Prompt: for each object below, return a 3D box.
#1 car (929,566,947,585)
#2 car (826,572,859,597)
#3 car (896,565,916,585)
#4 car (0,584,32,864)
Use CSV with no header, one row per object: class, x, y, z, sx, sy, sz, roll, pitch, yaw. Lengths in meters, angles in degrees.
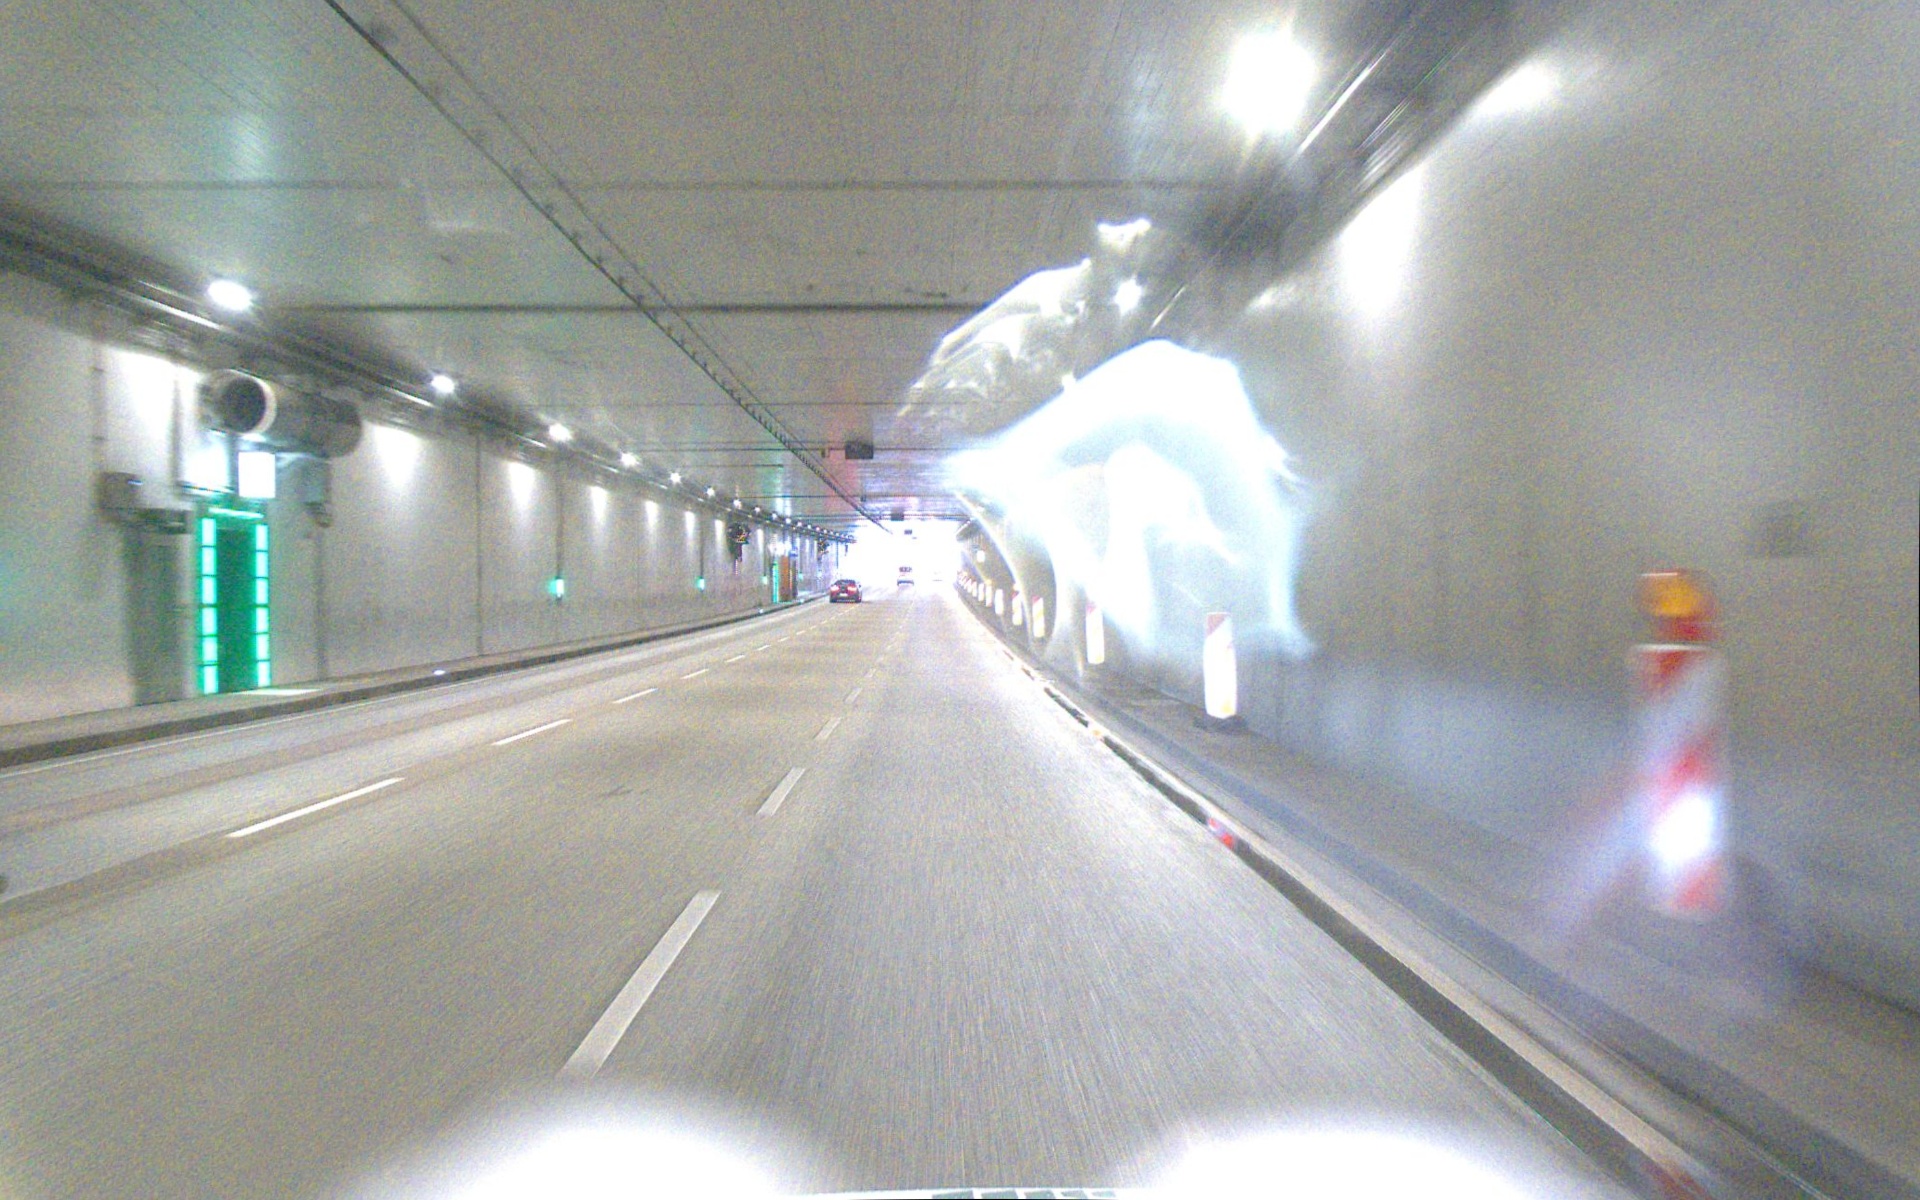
car,-2.457,-2.747,185.917,1.953,2.049,3.999,0,0,-1
car,-7.432,-0.975,104.403,1.954,1.473,4.310,1,0,-5
car,-5.538,-2.552,169.237,1.953,2.049,3.999,0,0,-1
car,-5.841,0.658,7.230,1.579,1.480,3.572,1,0,-1
